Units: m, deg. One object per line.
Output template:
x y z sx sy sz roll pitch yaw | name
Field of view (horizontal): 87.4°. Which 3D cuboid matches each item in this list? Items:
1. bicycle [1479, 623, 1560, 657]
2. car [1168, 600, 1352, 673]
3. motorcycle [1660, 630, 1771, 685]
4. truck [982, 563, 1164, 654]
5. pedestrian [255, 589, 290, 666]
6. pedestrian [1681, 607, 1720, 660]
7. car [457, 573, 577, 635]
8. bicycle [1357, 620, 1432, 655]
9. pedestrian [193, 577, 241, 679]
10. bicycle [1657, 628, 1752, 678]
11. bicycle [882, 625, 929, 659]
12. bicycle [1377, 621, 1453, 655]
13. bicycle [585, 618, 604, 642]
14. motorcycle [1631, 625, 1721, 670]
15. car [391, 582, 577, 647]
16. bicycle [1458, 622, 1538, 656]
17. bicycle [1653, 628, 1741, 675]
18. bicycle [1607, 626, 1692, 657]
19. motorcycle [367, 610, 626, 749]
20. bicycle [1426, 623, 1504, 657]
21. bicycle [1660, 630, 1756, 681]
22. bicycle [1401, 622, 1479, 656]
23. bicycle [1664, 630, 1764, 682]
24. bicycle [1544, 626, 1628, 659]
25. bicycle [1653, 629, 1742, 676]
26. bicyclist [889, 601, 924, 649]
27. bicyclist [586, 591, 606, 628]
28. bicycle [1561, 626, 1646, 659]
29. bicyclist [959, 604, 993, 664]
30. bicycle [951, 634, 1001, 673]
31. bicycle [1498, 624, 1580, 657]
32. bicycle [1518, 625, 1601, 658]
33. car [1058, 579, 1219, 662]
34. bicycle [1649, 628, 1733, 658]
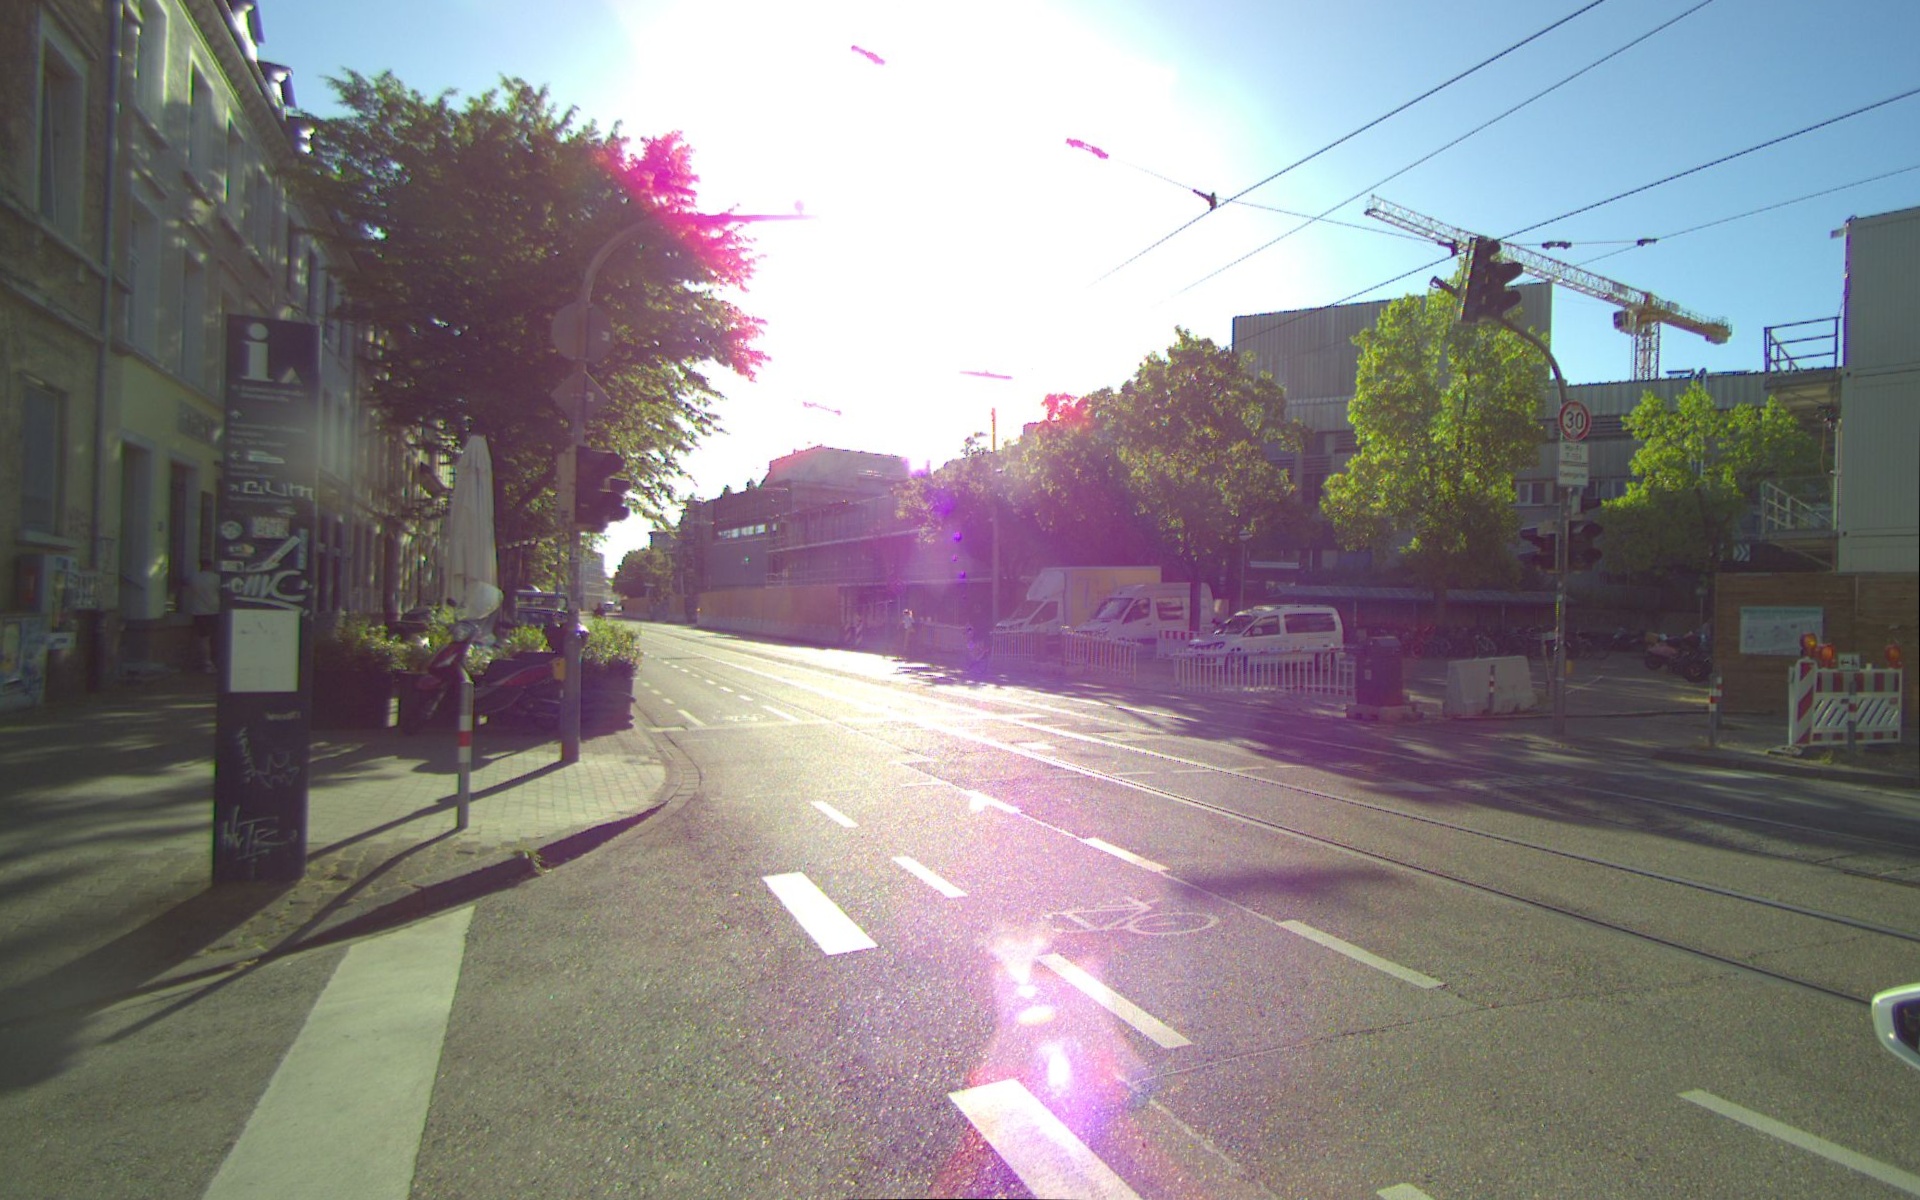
21.237 1.493 38.223 0.808 1.163 3.080 1 0 -14 | bicycle
8.665 0.993 29.054 4.869 1.918 2.002 -1 1 -19 | car
18.999 1.424 25.314 2.172 1.274 0.542 1 0 29 | motorcycle
4.528 0.300 40.092 7.019 3.393 2.376 0 1 -24 | truck
-15.070 0.588 22.034 0.532 1.665 0.566 1 0 -26 | pedestrian
28.895 1.301 39.213 0.923 2.040 0.801 1 0 -13 | pedestrian
-21.689 0.237 49.263 5.132 2.611 2.230 5 -2 -27 | car
15.758 1.334 36.561 0.808 1.163 3.080 1 0 -14 | bicycle
-12.354 0.457 16.711 0.532 1.665 0.566 1 0 -26 | pedestrian
20.360 1.431 27.511 2.013 1.274 0.470 1 0 29 | bicycle
-1.985 1.510 36.228 0.883 1.107 2.417 3 -1 -23 | bicycle
16.665 1.371 36.939 0.808 1.163 3.080 1 0 -14 | bicycle
-15.904 1.301 43.704 0.604 0.966 1.872 1 0 -24 | bicycle
21.858 1.440 30.722 2.172 1.274 0.542 1 0 29 | motorcycle
-15.966 0.505 33.936 2.010 2.018 5.318 1 0 42 | car
20.258 1.453 37.939 0.808 1.163 3.080 1 0 -14 | bicycle
21.605 1.491 29.488 2.013 1.274 0.542 1 0 29 | bicycle
28.100 1.673 41.008 0.808 1.163 3.080 1 0 -14 | bicycle
-5.104 0.864 11.259 0.984 1.368 2.414 1 -3 36 | motorcycle
18.786 1.458 37.479 0.808 1.163 3.080 1 0 -14 | bicycle
20.114 1.477 27.063 2.013 1.274 0.470 1 0 29 | bicycle
17.750 1.416 37.259 0.808 1.163 3.080 1 0 -14 | bicycle
19.638 1.436 26.205 2.013 1.274 0.470 1 0 29 | bicycle
24.182 1.614 38.904 0.808 1.163 3.080 1 0 -14 | bicycle
21.267 1.492 28.999 2.013 1.274 0.542 1 0 29 | bicycle
-1.932 0.901 36.192 0.883 1.661 1.094 3 -1 -23 | bicyclist
-15.829 0.411 43.618 0.717 1.593 1.022 1 0 -24 | bicyclist
25.055 1.650 39.198 0.808 1.163 3.080 1 0 -14 | bicycle
0.447 0.952 28.616 0.673 1.680 0.807 1 0 -24 | bicyclist
0.444 1.500 28.593 0.673 1.032 1.910 1 -1 -24 | bicycle
22.097 1.529 38.414 0.808 1.163 3.080 1 0 -14 | bicycle
23.024 1.567 38.662 0.808 1.163 3.080 1 0 -14 | bicycle
6.162 0.654 34.589 5.310 2.565 1.986 -2 1 -27 | car
30.718 1.781 42.281 0.808 1.163 3.080 1 0 -14 | bicycle
